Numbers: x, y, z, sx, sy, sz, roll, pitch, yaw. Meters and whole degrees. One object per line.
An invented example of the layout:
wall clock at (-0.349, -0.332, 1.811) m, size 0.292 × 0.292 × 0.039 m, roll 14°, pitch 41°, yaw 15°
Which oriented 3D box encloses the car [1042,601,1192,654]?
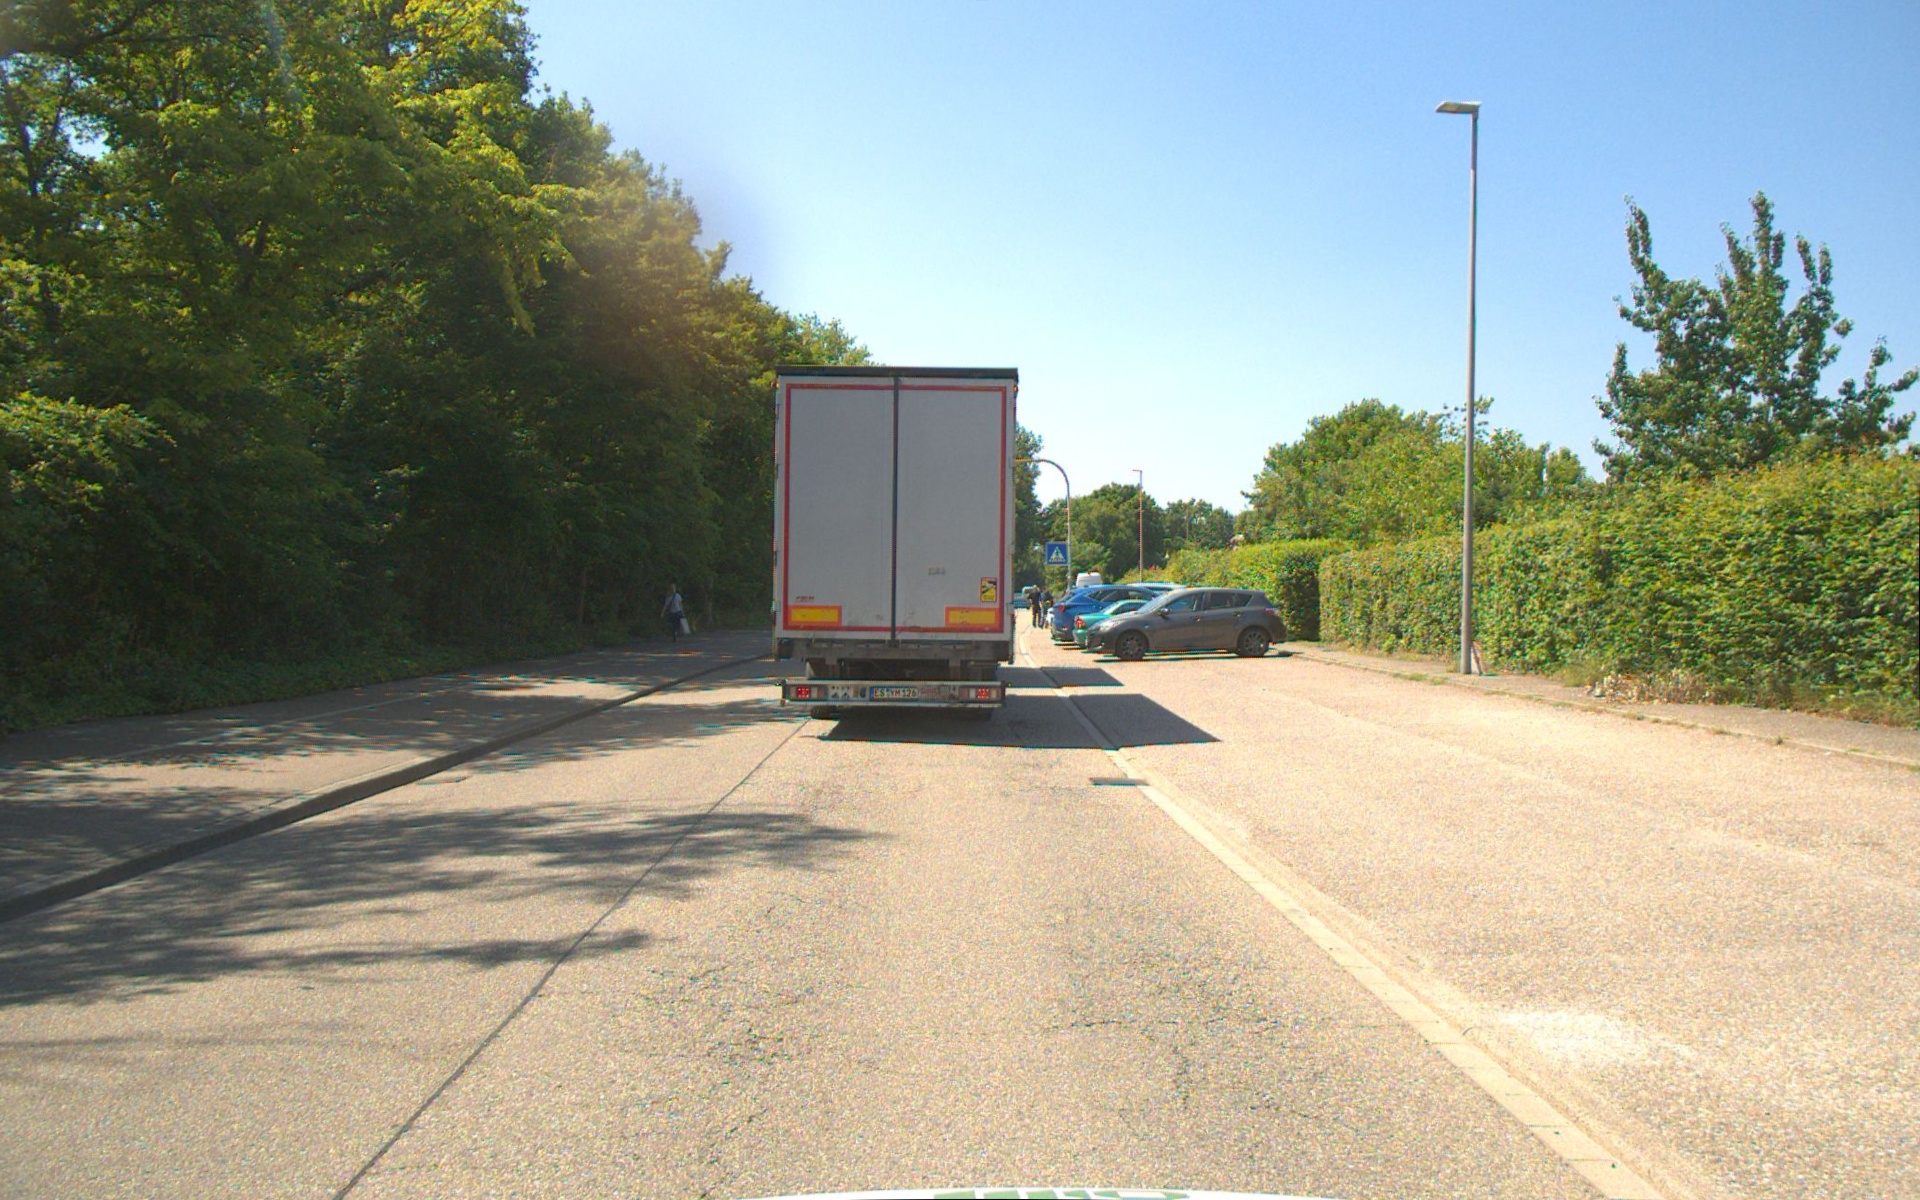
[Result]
car at (4.478, 0.773, 47.602) m, size 4.050 × 1.464 × 1.812 m, roll 0°, pitch 0°, yaw -6°

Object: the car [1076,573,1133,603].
car at (10.051, -0.821, 115.467) m, size 3.873 × 1.829 × 1.814 m, roll -3°, pitch -2°, yaw 4°

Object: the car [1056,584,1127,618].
car at (7.518, 0.068, 94.801) m, size 3.877 × 1.796 × 1.813 m, roll -2°, pitch 0°, yaw -2°

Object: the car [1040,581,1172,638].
car at (5.014, 0.335, 57.242) m, size 4.315 × 1.728 × 1.876 m, roll -3°, pitch 0°, yaw -1°

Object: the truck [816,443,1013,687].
truck at (-0.757, -0.563, 28.997) m, size 3.050 × 3.790 × 6.412 m, roll 0°, pitch 0°, yaw -1°

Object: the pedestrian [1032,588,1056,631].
pedestrian at (3.625, 0.404, 71.094) m, size 0.888 × 1.830 × 0.936 m, roll -3°, pitch -1°, yaw 6°

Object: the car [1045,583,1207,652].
car at (4.435, 0.463, 44.597) m, size 4.151 × 1.662 × 1.823 m, roll -2°, pitch 0°, yaw 0°

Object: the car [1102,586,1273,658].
car at (5.295, 0.509, 38.816) m, size 3.724 × 1.480 × 1.774 m, roll -3°, pitch 0°, yaw 0°

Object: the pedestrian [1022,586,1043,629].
pedestrian at (3.241, 0.342, 73.661) m, size 0.804 × 1.866 × 0.793 m, roll -3°, pitch -1°, yaw 6°

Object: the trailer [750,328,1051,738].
trailer at (-0.675, -0.721, 22.629) m, size 3.049 × 4.174 × 11.535 m, roll 0°, pitch 0°, yaw -1°

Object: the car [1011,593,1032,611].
car at (5.239, 0.151, 141.649) m, size 1.744 × 1.512 × 4.001 m, roll 0°, pitch 0°, yaw 1°

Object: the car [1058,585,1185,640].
car at (5.295, 0.414, 54.695) m, size 4.040 × 1.686 × 1.887 m, roll -1°, pitch 0°, yaw 1°

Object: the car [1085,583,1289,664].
car at (4.824, 0.497, 35.626) m, size 4.079 × 1.521 × 1.882 m, roll -3°, pitch 0°, yaw 0°

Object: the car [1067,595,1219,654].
car at (4.594, 0.607, 41.798) m, size 3.657 × 1.290 × 1.628 m, roll -3°, pitch 0°, yaw 2°

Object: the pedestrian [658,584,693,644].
pedestrian at (-7.988, 0.380, 46.481) m, size 0.811 × 1.651 × 0.783 m, roll 2°, pitch 0°, yaw -1°

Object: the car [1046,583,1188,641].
car at (4.757, 0.390, 50.616) m, size 4.149 × 1.683 × 1.899 m, roll -1°, pitch -2°, yaw -1°
